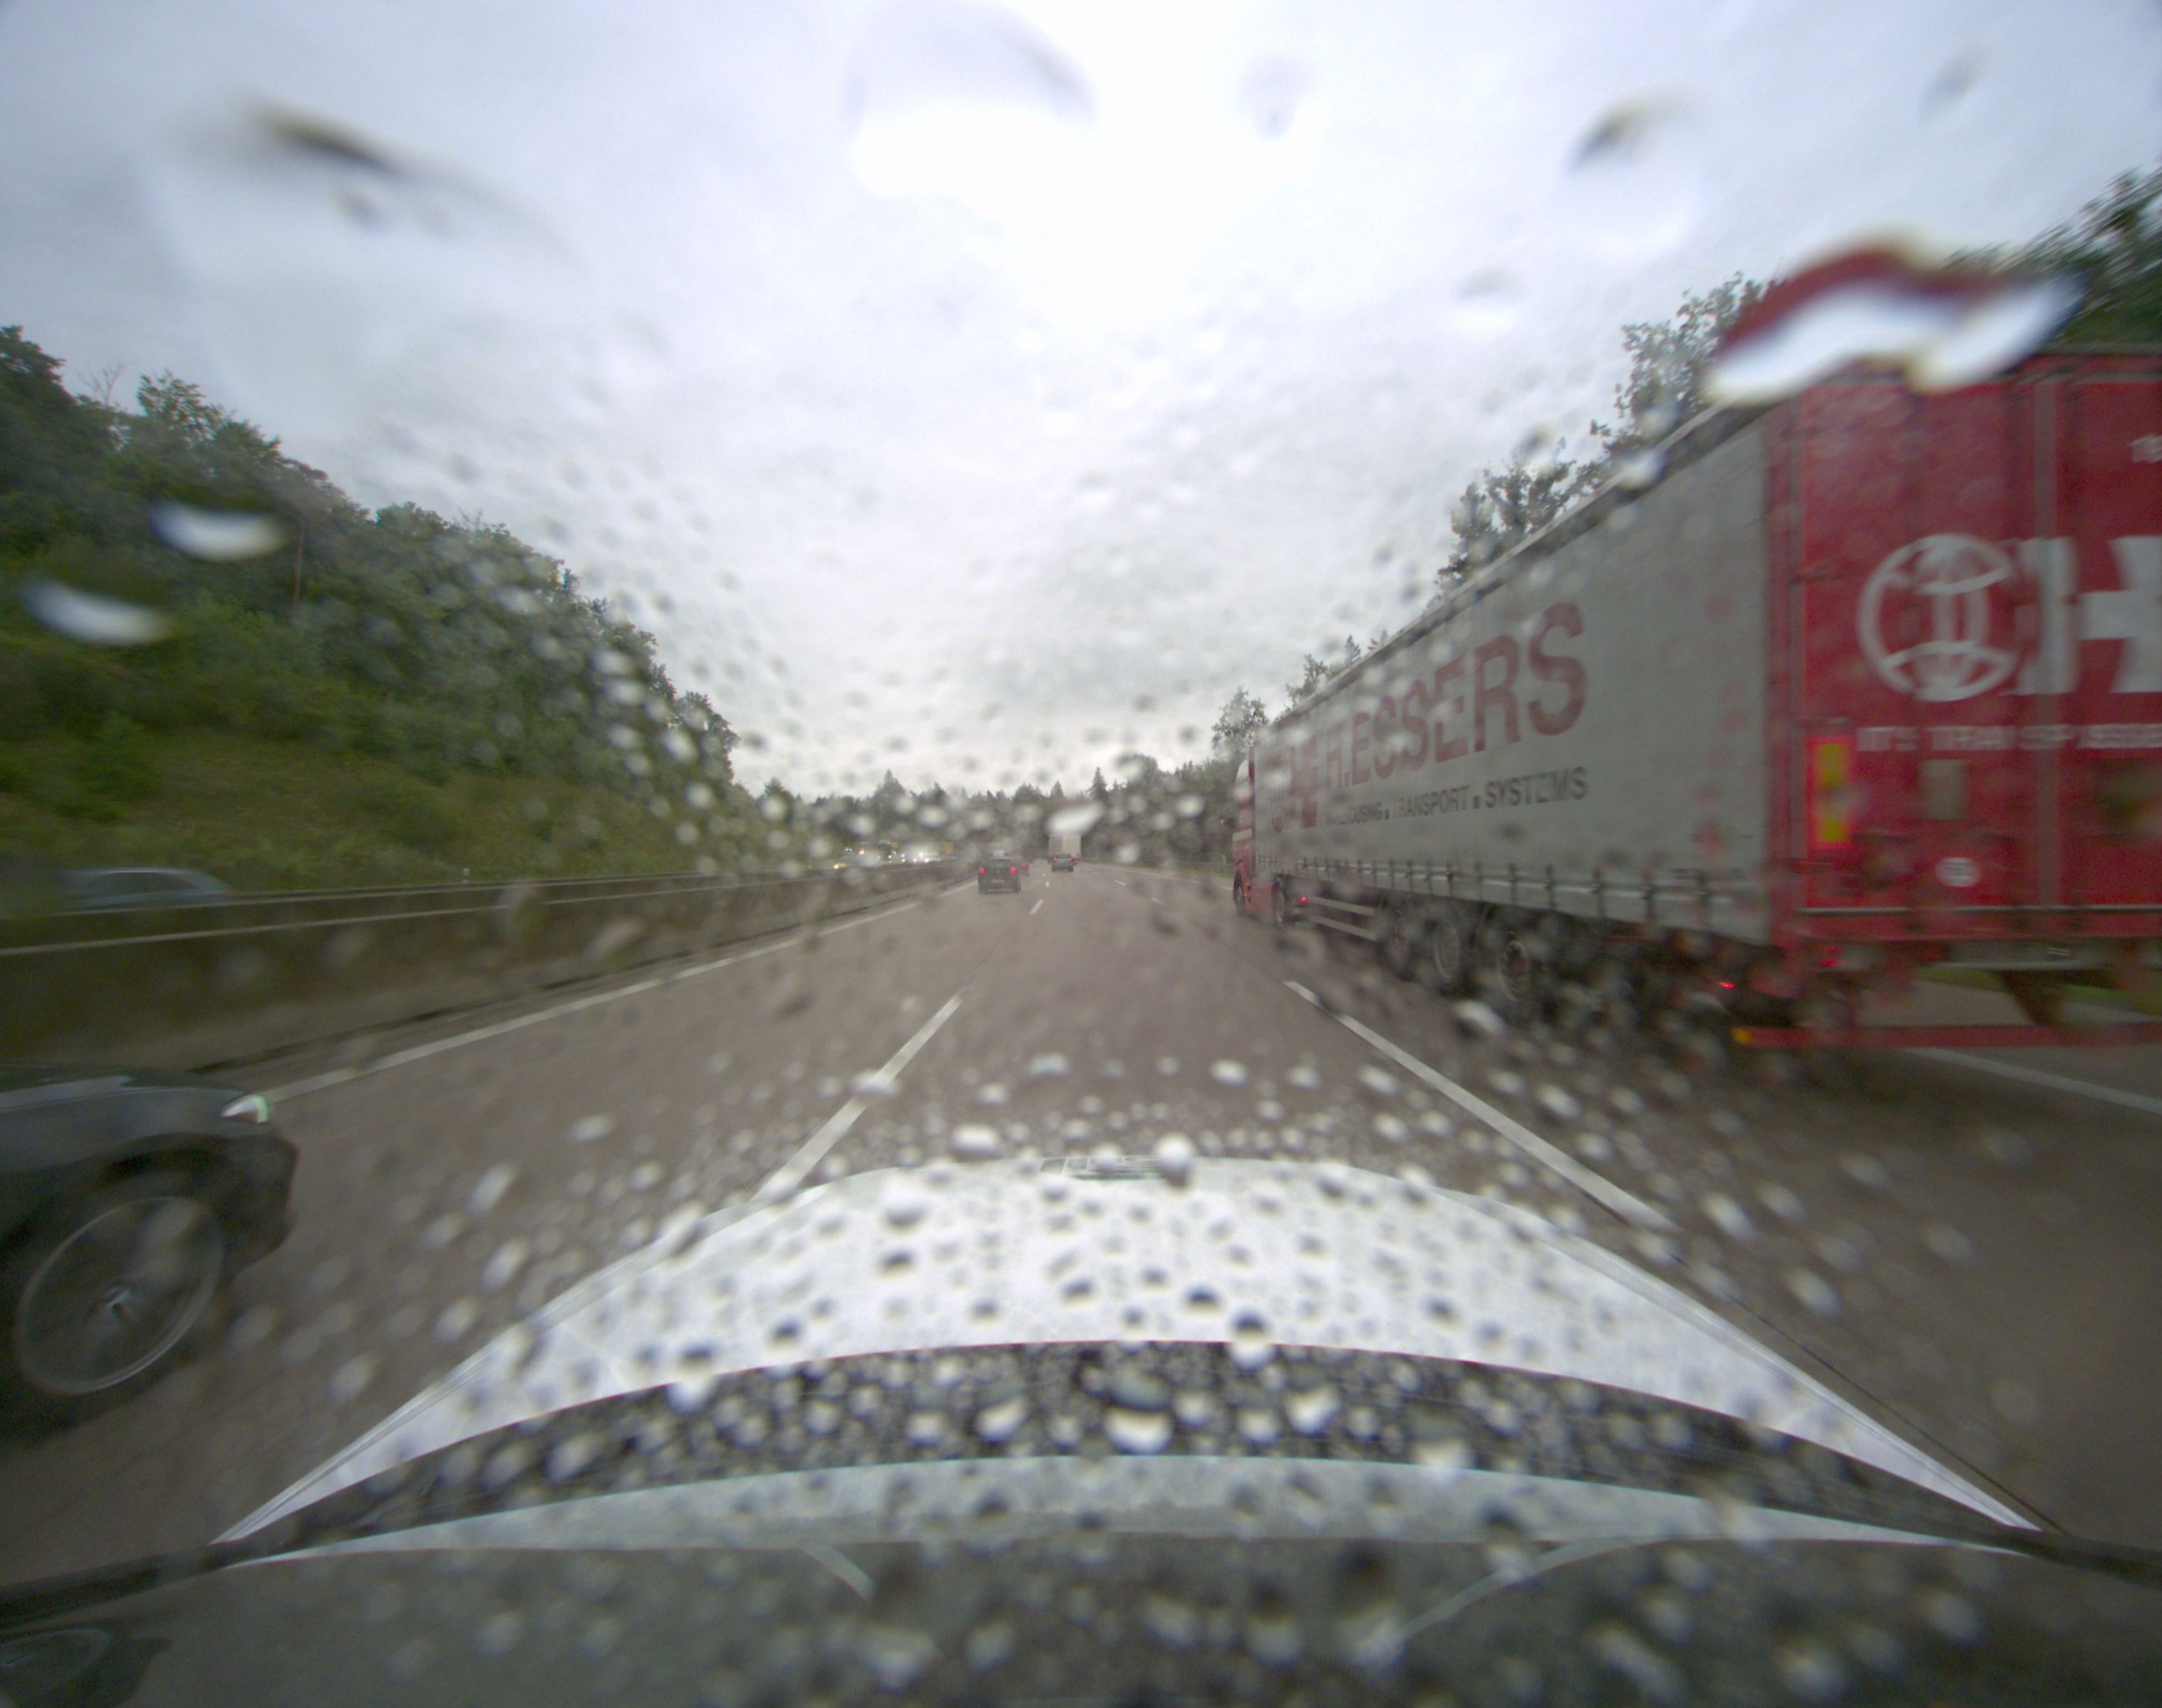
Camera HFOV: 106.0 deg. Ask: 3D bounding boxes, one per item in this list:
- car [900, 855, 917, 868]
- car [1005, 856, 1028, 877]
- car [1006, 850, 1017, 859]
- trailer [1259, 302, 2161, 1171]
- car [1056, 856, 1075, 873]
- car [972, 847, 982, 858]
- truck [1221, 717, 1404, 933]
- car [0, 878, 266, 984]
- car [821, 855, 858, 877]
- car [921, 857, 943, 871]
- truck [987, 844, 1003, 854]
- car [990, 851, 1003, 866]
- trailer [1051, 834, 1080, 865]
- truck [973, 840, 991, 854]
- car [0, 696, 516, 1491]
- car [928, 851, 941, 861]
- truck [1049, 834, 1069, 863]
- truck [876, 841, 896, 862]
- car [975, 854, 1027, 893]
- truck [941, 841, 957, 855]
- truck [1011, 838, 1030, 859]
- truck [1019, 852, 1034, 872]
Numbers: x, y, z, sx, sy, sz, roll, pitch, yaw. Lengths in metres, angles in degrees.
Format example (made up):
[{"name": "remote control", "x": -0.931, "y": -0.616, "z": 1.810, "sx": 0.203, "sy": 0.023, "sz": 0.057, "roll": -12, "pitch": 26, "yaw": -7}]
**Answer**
[{"name": "car", "x": -22.702, "y": 0.978, "z": 107.051, "sx": 1.807, "sy": 1.684, "sz": 3.990, "roll": -1, "pitch": 0, "yaw": -7}, {"name": "car", "x": -4.655, "y": 0.890, "z": 59.162, "sx": 1.550, "sy": 1.351, "sz": 3.680, "roll": 2, "pitch": 0, "yaw": -3}, {"name": "car", "x": -12.288, "y": 0.047, "z": 143.701, "sx": 1.878, "sy": 1.473, "sz": 3.994, "roll": 2, "pitch": 0, "yaw": -4}, {"name": "trailer", "x": 4.646, "y": -0.559, "z": 9.995, "sx": 2.362, "sy": 3.953, "sz": 12.523, "roll": -1, "pitch": 0, "yaw": 1}, {"name": "car", "x": -1.286, "y": 0.859, "z": 69.917, "sx": 1.549, "sy": 1.351, "sz": 3.683, "roll": 2, "pitch": 0, "yaw": 0}, {"name": "car", "x": -20.575, "y": -0.320, "z": 160.873, "sx": 1.992, "sy": 2.059, "sz": 3.990, "roll": -1, "pitch": 0, "yaw": -7}, {"name": "truck", "x": 4.809, "y": -0.543, "z": 18.126, "sx": 2.366, "sy": 3.954, "sz": 6.161, "roll": -1, "pitch": 0, "yaw": 1}, {"name": "car", "x": -15.547, "y": 1.108, "z": 12.601, "sx": 1.647, "sy": 1.346, "sz": 4.089, "roll": 0, "pitch": 0, "yaw": 3}, {"name": "car", "x": -17.257, "y": 0.847, "z": 58.370, "sx": 1.571, "sy": 1.487, "sz": 4.278, "roll": -1, "pitch": 0, "yaw": -3}, {"name": "car", "x": -16.981, "y": 1.138, "z": 92.807, "sx": 1.737, "sy": 1.561, "sz": 4.281, "roll": -1, "pitch": 0, "yaw": -1}, {"name": "truck", "x": -20.669, "y": -1.135, "z": 195.598, "sx": 2.978, "sy": 2.309, "sz": 6.636, "roll": 2, "pitch": 0, "yaw": -14}, {"name": "car", "x": -11.996, "y": 0.648, "z": 116.274, "sx": 1.722, "sy": 2.013, "sz": 3.651, "roll": -1, "pitch": 0, "yaw": -5}, {"name": "trailer", "x": -2.182, "y": -0.648, "z": 110.670, "sx": 2.418, "sy": 4.068, "sz": 12.020, "roll": 0, "pitch": 1, "yaw": -8}, {"name": "truck", "x": -22.436, "y": -1.616, "z": 184.230, "sx": 3.086, "sy": 2.905, "sz": 7.868, "roll": 0, "pitch": 1, "yaw": -13}, {"name": "car", "x": -3.650, "y": 0.603, "z": 0.651, "sx": 1.900, "sy": 1.945, "sz": 6.165, "roll": -1, "pitch": 0, "yaw": 2}, {"name": "car", "x": -27.138, "y": 0.337, "z": 151.151, "sx": 1.991, "sy": 1.768, "sz": 4.527, "roll": -1, "pitch": 0, "yaw": -6}, {"name": "truck", "x": -3.170, "y": -0.762, "z": 117.788, "sx": 2.418, "sy": 4.068, "sz": 4.965, "roll": 0, "pitch": 1, "yaw": -8}, {"name": "truck", "x": -38.062, "y": -0.560, "z": 159.133, "sx": 2.925, "sy": 3.960, "sz": 8.097, "roll": -1, "pitch": 0, "yaw": -7}, {"name": "car", "x": -3.269, "y": 0.777, "z": 33.724, "sx": 1.678, "sy": 1.462, "sz": 3.684, "roll": 2, "pitch": 0, "yaw": 1}, {"name": "truck", "x": -40.416, "y": -1.854, "z": 249.001, "sx": 3.749, "sy": 4.209, "sz": 6.778, "roll": -1, "pitch": 0, "yaw": -17}, {"name": "truck", "x": -12.309, "y": -1.078, "z": 164.264, "sx": 3.365, "sy": 4.131, "sz": 10.414, "roll": 0, "pitch": 1, "yaw": -7}, {"name": "truck", "x": -8.512, "y": 1.179, "z": 127.159, "sx": 2.265, "sy": 2.886, "sz": 7.892, "roll": 0, "pitch": 1, "yaw": -4}]
